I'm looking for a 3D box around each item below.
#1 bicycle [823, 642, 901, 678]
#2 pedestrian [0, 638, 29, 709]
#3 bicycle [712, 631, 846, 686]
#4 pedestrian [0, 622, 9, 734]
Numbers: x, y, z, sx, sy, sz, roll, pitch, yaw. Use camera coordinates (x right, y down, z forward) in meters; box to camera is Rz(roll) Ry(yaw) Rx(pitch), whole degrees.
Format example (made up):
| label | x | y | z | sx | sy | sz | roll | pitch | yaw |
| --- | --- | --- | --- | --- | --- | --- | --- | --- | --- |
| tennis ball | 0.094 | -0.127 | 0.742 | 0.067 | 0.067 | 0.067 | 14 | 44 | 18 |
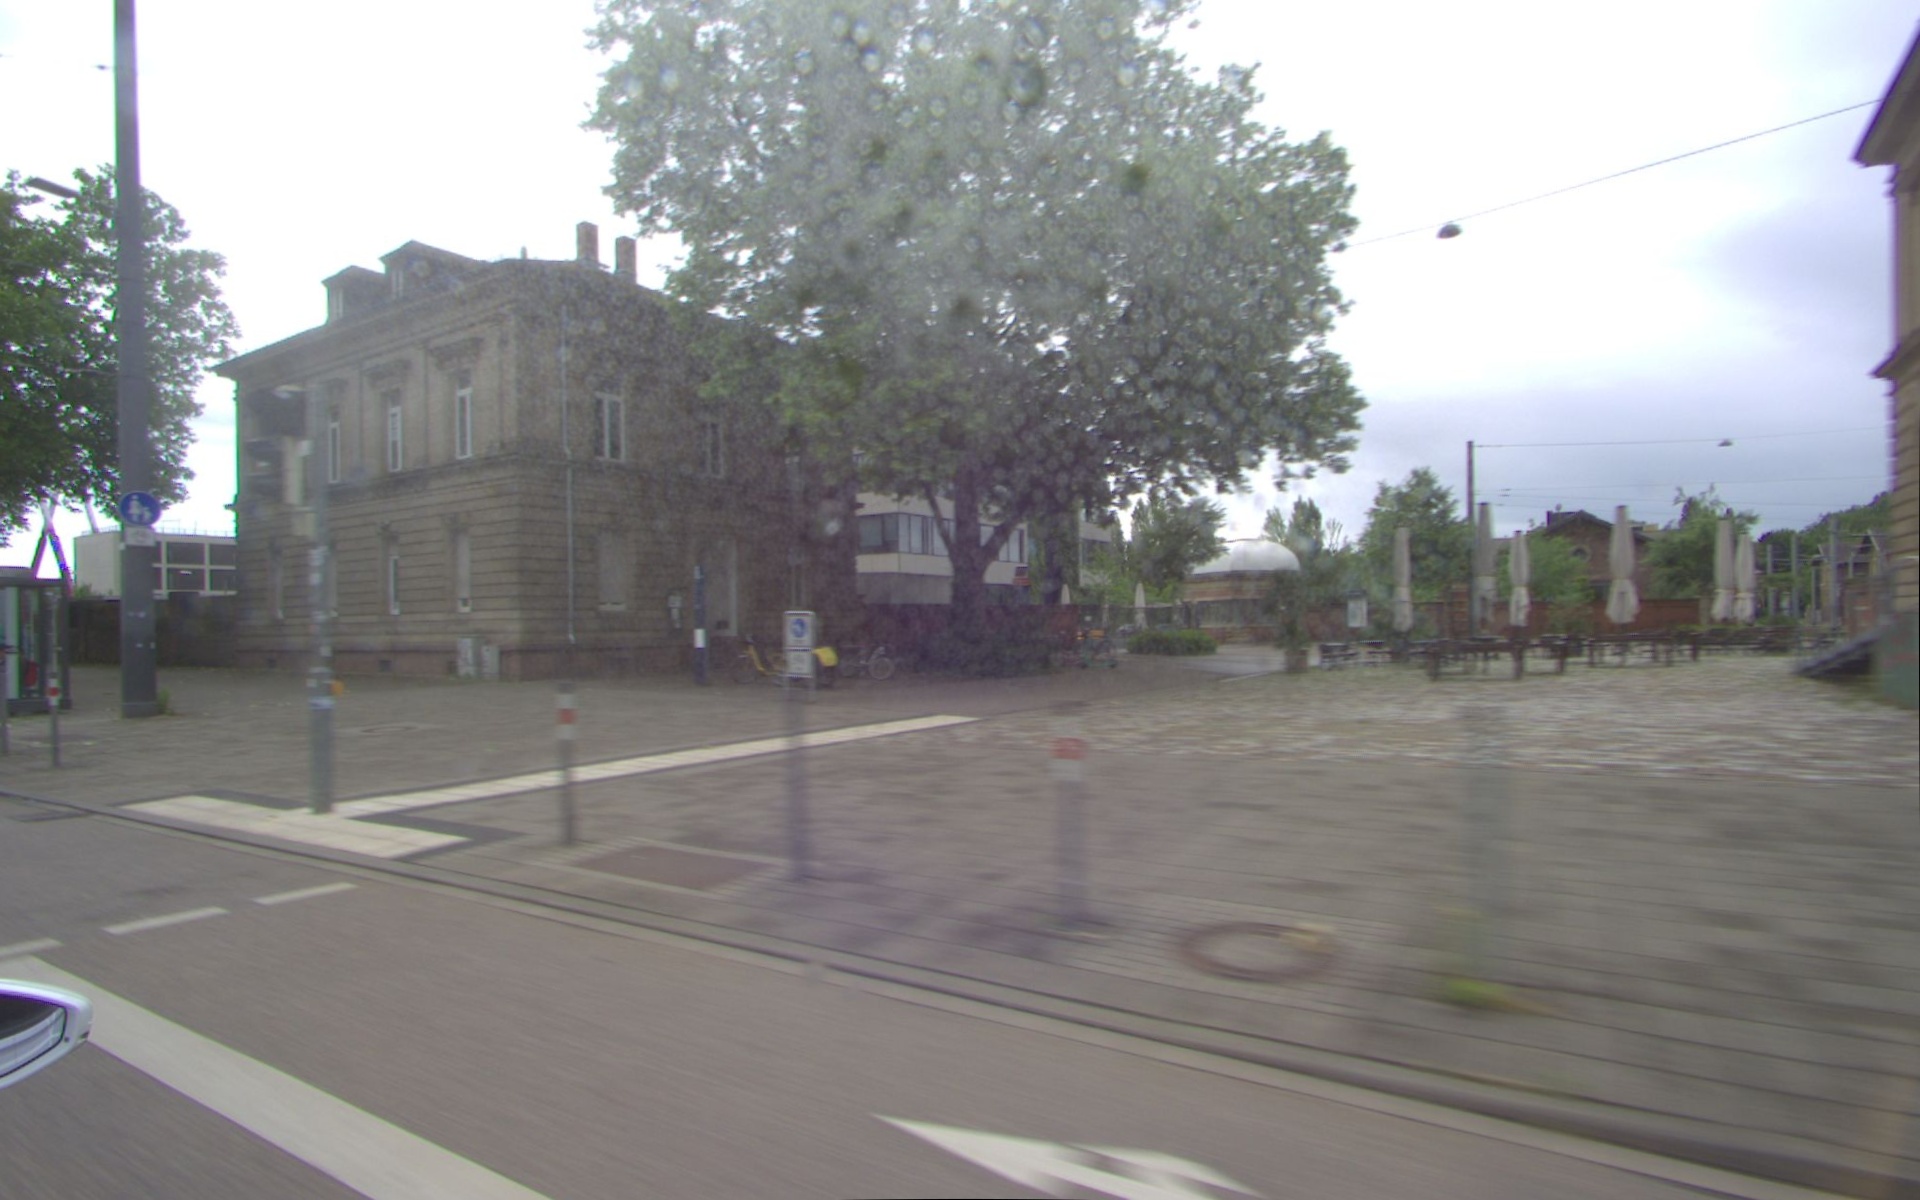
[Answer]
| label | x | y | z | sx | sy | sz | roll | pitch | yaw |
| --- | --- | --- | --- | --- | --- | --- | --- | --- | --- |
| bicycle | -2.528 | 1.529 | 25.699 | 2.052 | 0.883 | 0.608 | -1 | -1 | 32 |
| pedestrian | -17.167 | 1.317 | 17.987 | 0.692 | 1.250 | 0.475 | -2 | -1 | 33 |
| bicycle | -4.267 | 1.338 | 23.445 | 3.356 | 1.082 | 0.899 | 1 | 0 | 32 |
| pedestrian | -13.643 | 1.087 | 13.924 | 0.547 | 1.548 | 0.633 | -1 | -1 | -39 |
